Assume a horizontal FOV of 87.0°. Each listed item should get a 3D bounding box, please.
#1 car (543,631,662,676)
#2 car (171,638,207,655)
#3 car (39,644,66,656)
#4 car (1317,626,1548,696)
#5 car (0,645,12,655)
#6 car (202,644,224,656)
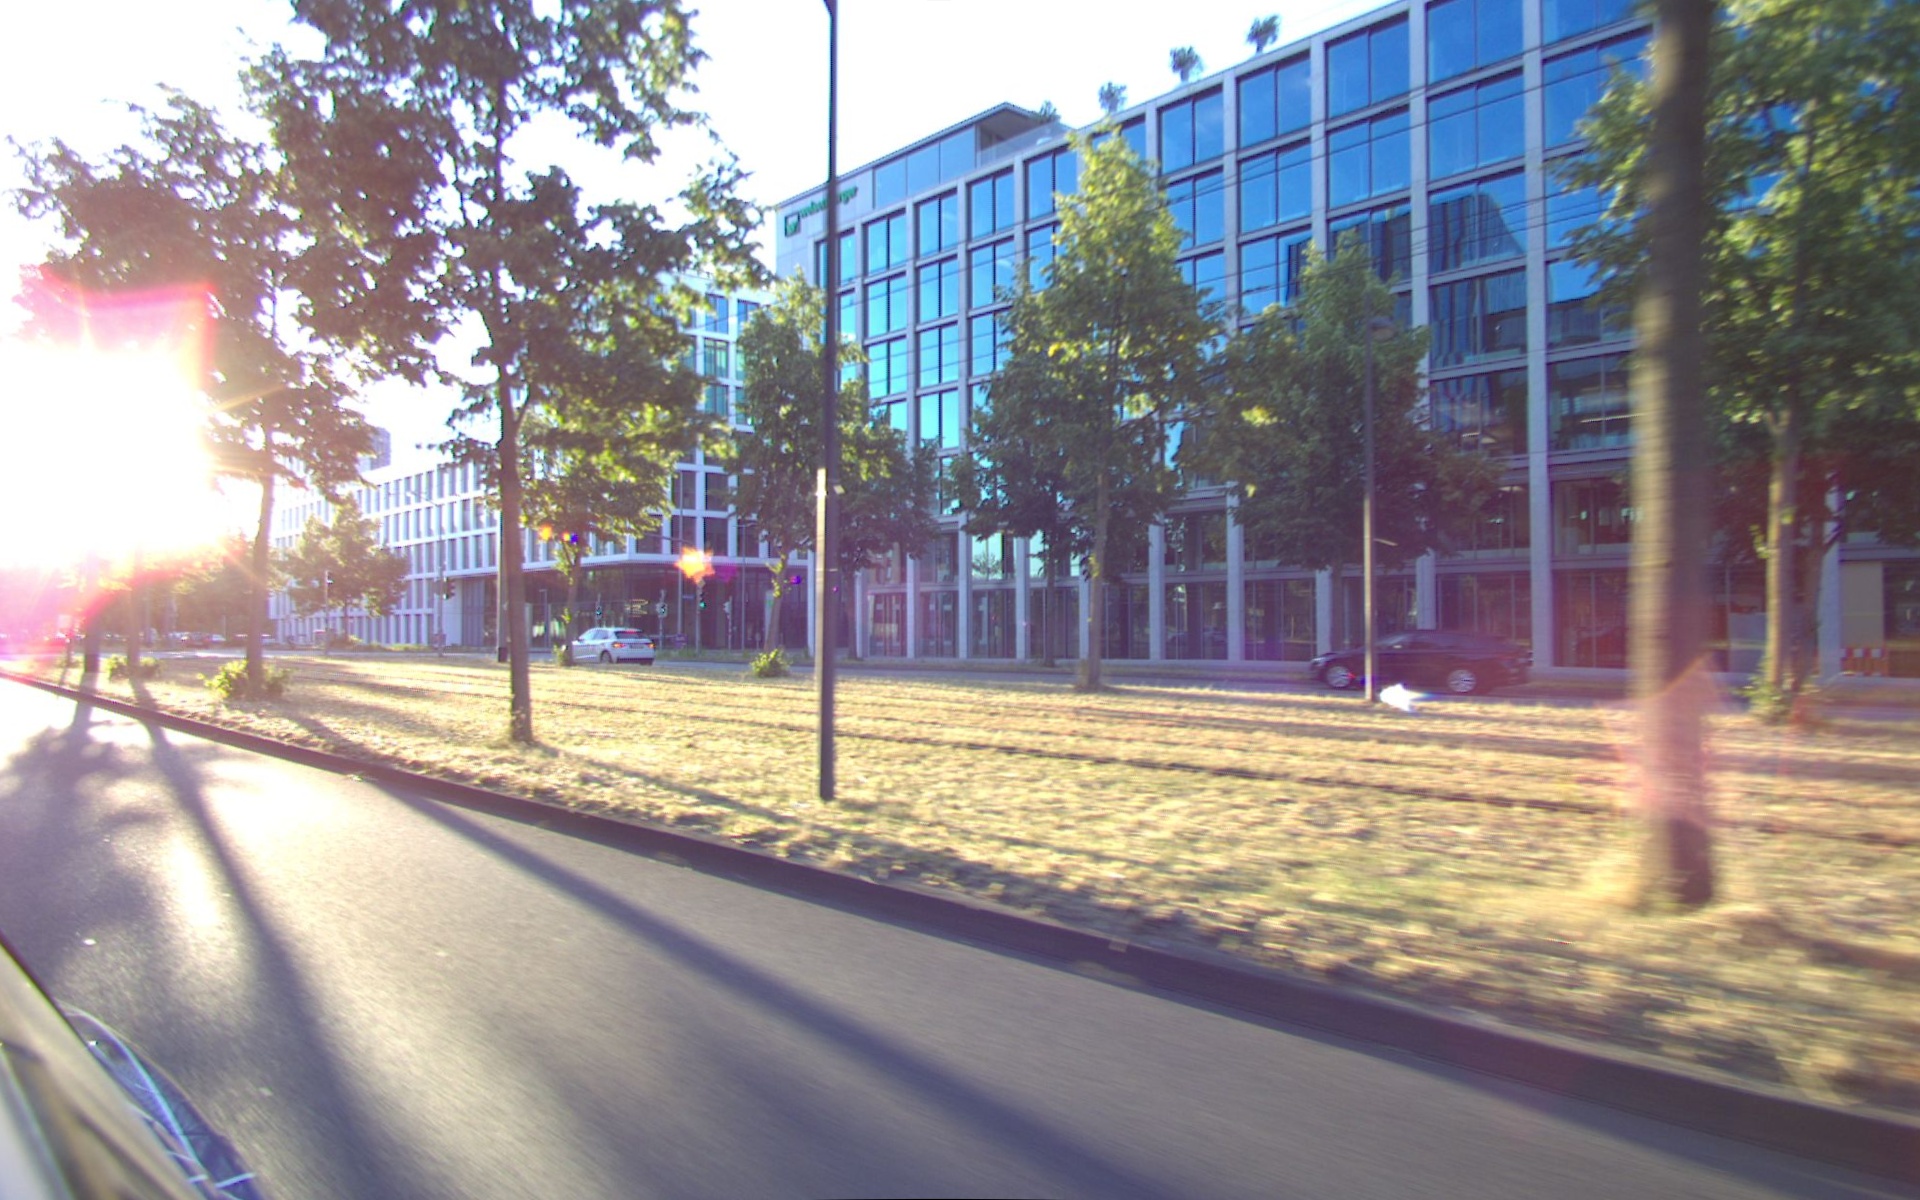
[{"bbox_3d":[-12.754,1.877,35.946,4.626,1.497,1.883,-2,-2,39],"label":"car"},{"bbox_3d":[-65.733,3.963,86.309,3.997,1.460,1.624,-3,-3,40],"label":"car"},{"bbox_3d":[-115.172,6.293,128.438,4.895,1.445,1.973,-2,-2,40],"label":"car"},{"bbox_3d":[10.647,1.327,22.973,4.386,1.433,1.911,-2,-2,41],"label":"car"},{"bbox_3d":[-145.033,7.543,153.262,3.996,1.414,1.629,-3,-3,40],"label":"car"},{"bbox_3d":[-104.391,6.952,141.444,1.970,1.604,4.339,1,-3,-43],"label":"car"}]
